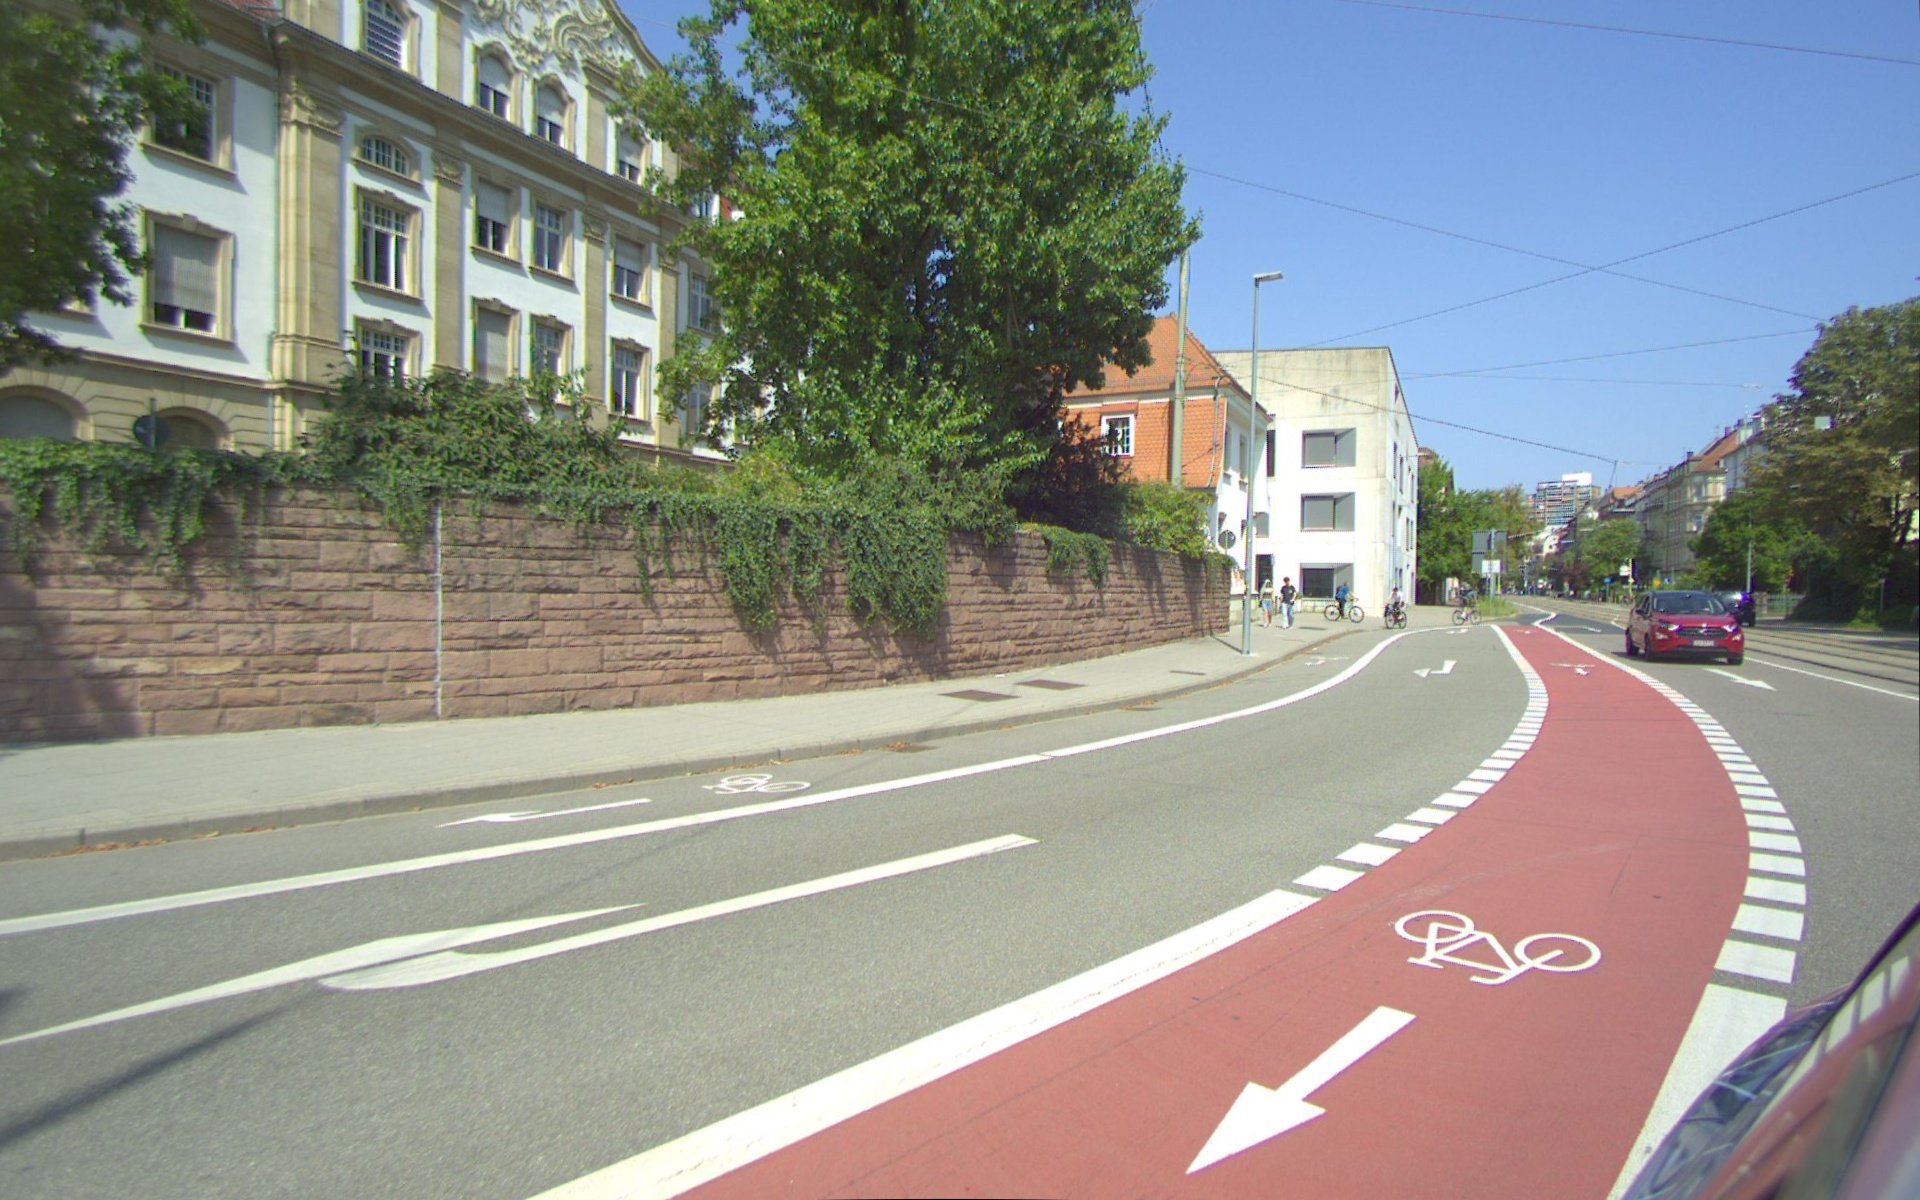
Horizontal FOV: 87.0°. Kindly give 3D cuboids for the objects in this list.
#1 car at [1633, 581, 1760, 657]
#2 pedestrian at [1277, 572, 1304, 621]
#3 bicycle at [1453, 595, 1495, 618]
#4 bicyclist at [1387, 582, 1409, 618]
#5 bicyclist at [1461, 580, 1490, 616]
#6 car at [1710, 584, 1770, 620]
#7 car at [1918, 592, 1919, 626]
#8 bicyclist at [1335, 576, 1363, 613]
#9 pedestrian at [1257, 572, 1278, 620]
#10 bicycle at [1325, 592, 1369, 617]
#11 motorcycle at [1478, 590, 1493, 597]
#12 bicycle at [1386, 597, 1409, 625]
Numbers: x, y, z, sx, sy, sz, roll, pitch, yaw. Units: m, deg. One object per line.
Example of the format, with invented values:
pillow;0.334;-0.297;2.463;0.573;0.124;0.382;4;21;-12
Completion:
car;16.770;0.379;23.228;1.801;1.571;3.981;1;0;28
pedestrian;11.570;-0.130;35.381;0.723;1.687;0.870;1;0;30
bicycle;23.933;0.310;47.143;1.676;1.012;0.617;1;1;-9
bicyclist;17.689;-0.022;40.875;0.740;1.429;0.952;1;0;28
bicyclist;24.021;-0.103;47.142;0.972;1.618;0.629;1;1;-10
car;37.823;0.061;49.131;1.680;1.676;3.547;1;1;27
car;43.489;0.410;42.692;4.346;1.480;1.821;0;0;1
bicyclist;17.161;-0.243;44.650;0.886;1.558;0.629;3;2;-3
pedestrian;10.883;-0.140;35.781;0.614;1.687;0.482;1;0;27
bicycle;17.077;0.200;44.647;1.678;1.012;0.616;2;1;-2
motorcycle;79.095;-0.988;152.329;1.983;1.027;0.789;5;2;28
bicycle;17.664;0.431;40.835;0.734;1.062;2.212;1;1;27
